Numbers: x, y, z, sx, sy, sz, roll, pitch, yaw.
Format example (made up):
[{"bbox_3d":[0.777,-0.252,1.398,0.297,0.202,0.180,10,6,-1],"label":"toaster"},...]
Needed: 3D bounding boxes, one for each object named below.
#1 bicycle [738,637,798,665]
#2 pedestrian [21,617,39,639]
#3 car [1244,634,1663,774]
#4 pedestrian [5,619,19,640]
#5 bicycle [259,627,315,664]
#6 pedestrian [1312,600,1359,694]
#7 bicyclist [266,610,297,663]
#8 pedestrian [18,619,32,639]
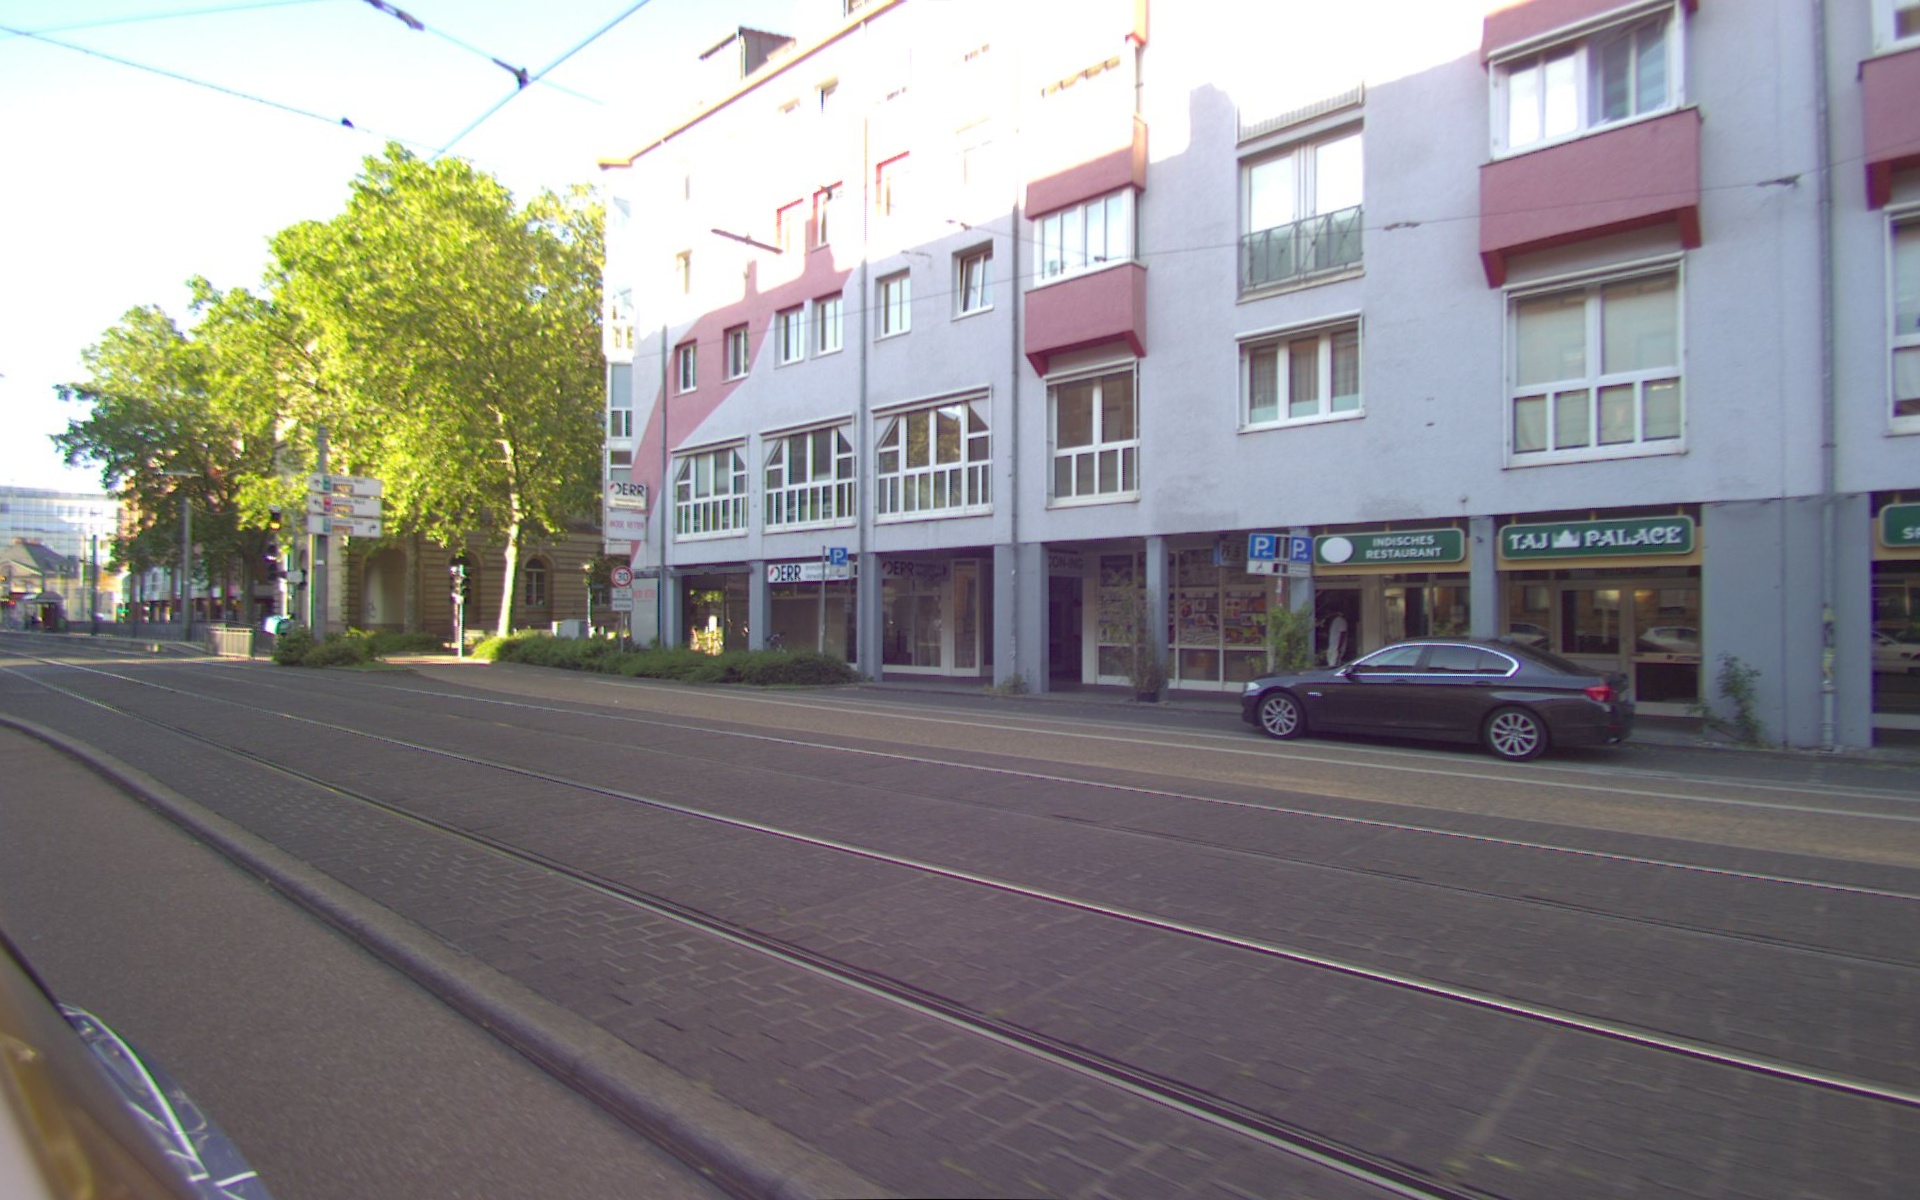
[{"bbox_3d":[-5.137,1.351,26.997,1.807,0.663,0.451,-1,1,37],"label":"bicycle"},{"bbox_3d":[-70.754,2.150,77.024,0.967,1.674,0.901,-1,-2,41],"label":"pedestrian"},{"bbox_3d":[6.400,1.234,13.480,4.704,1.450,1.850,-1,-1,41],"label":"car"},{"bbox_3d":[-82.947,2.578,88.559,0.848,1.780,0.812,-2,1,-44],"label":"pedestrian"},{"bbox_3d":[-22.086,1.481,33.245,0.576,1.086,1.900,-2,1,-2],"label":"bicycle"},{"bbox_3d":[7.068,0.878,19.037,0.615,1.725,0.736,-1,-2,38],"label":"pedestrian"},{"bbox_3d":[-22.104,1.183,32.976,0.526,1.725,0.746,0,-1,-3],"label":"bicyclist"},{"bbox_3d":[-83.189,2.586,90.038,0.847,1.780,0.812,-2,1,-40],"label":"pedestrian"}]
